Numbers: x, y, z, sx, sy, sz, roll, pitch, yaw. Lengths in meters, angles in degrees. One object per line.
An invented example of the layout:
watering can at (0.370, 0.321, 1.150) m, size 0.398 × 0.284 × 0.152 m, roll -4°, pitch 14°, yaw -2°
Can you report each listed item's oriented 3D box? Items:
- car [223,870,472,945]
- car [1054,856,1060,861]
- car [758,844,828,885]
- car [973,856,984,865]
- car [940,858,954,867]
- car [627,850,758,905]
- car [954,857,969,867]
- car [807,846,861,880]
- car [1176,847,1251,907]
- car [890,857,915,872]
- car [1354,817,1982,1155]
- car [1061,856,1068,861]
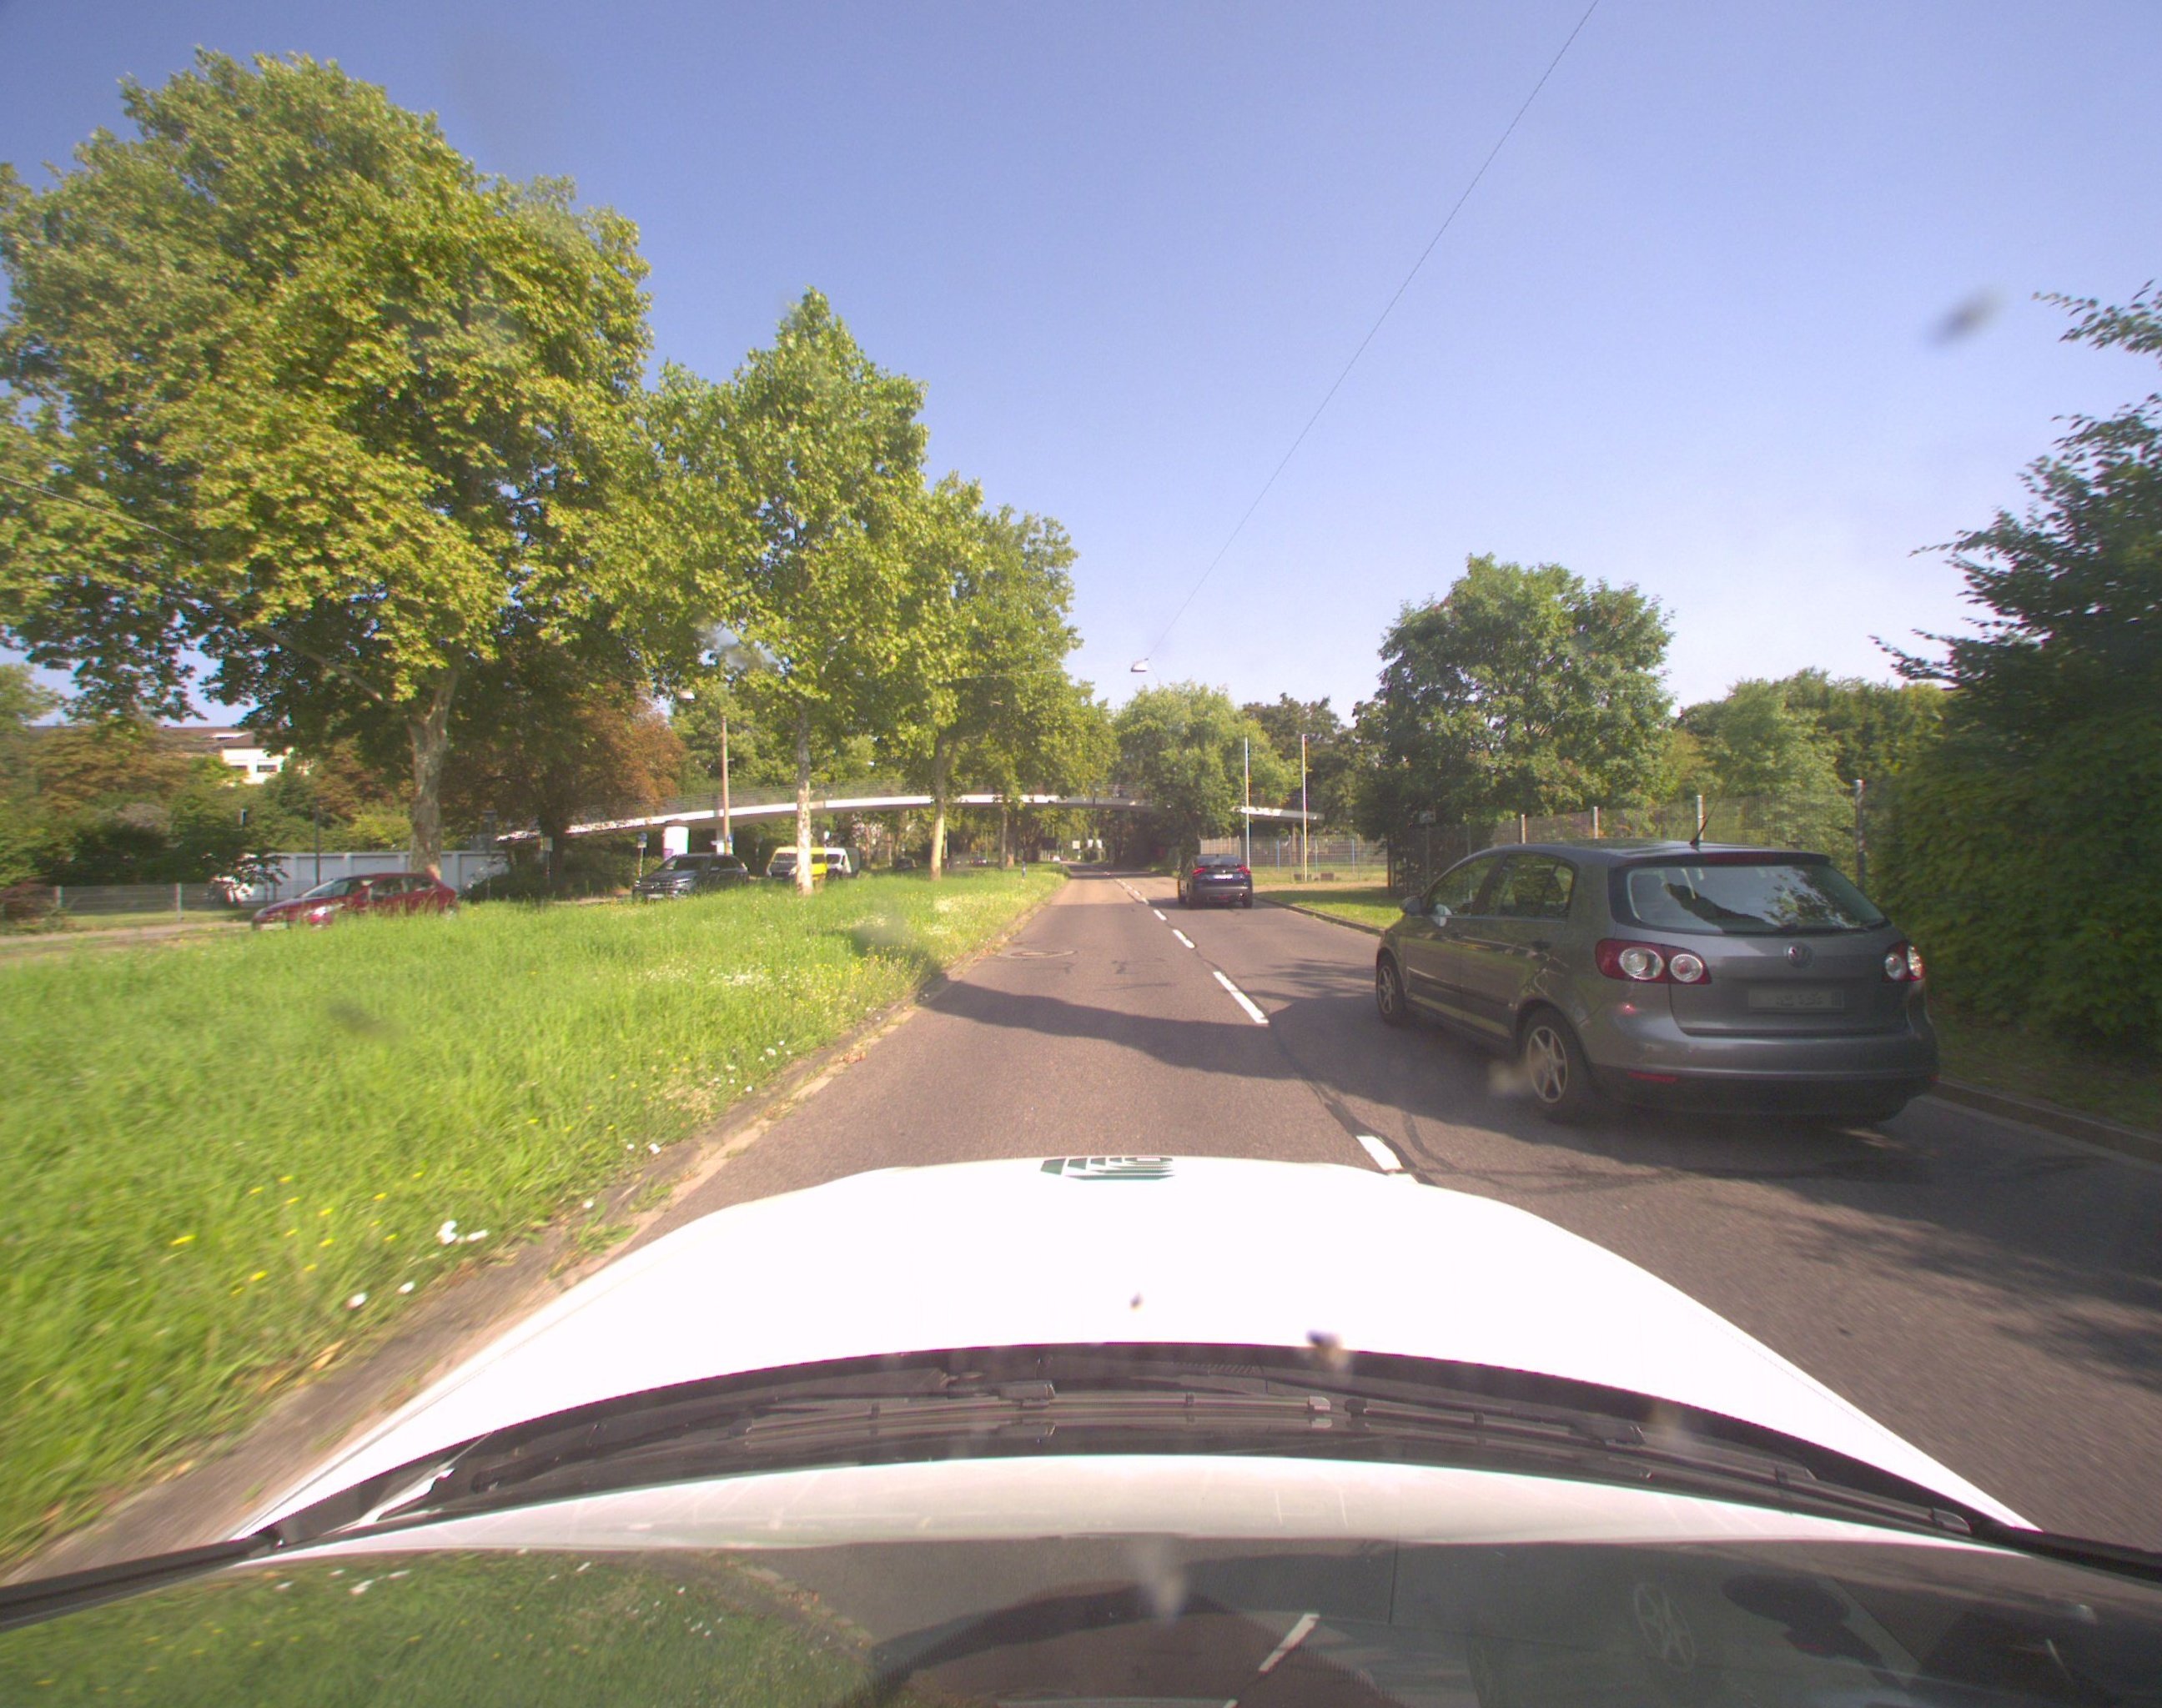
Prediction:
car at (-15.949, 1.092, 18.019) m, size 1.636 × 1.364 × 3.908 m, roll 0°, pitch 0°, yaw 8°
car at (-6.323, 1.215, 213.962) m, size 1.683 × 1.462 × 3.996 m, roll 0°, pitch -1°, yaw -3°
car at (-18.443, 0.665, 52.462) m, size 2.199 × 2.479 × 6.063 m, roll 0°, pitch -1°, yaw 2°
car at (-18.370, 1.083, 145.799) m, size 1.687 × 1.533 × 4.065 m, roll -1°, pitch 0°, yaw -3°
car at (-20.243, 1.278, 123.266) m, size 1.534 × 1.451 × 4.061 m, roll 0°, pitch -1°, yaw -2°
car at (-12.417, 0.717, 26.428) m, size 1.768 × 1.616 × 4.858 m, roll 0°, pitch 0°, yaw 2°
car at (-17.946, 1.222, 122.754) m, size 1.783 × 1.533 × 4.450 m, roll 0°, pitch -1°, yaw -3°
car at (-18.432, 0.685, 61.170) m, size 2.201 × 2.430 × 6.263 m, roll 0°, pitch -1°, yaw -1°
car at (3.781, 0.626, 23.867) m, size 1.639 × 1.588 × 4.256 m, roll 0°, pitch -1°, yaw 2°
car at (-19.081, 1.130, 87.110) m, size 1.516 × 1.533 × 3.867 m, roll -1°, pitch 0°, yaw 3°
car at (3.393, 0.627, 5.748) m, size 1.640 × 1.556 × 3.898 m, roll 0°, pitch -1°, yaw 0°
car at (-4.594, 1.189, 227.041) m, size 1.794 × 1.401 × 3.994 m, roll 0°, pitch -1°, yaw -4°
